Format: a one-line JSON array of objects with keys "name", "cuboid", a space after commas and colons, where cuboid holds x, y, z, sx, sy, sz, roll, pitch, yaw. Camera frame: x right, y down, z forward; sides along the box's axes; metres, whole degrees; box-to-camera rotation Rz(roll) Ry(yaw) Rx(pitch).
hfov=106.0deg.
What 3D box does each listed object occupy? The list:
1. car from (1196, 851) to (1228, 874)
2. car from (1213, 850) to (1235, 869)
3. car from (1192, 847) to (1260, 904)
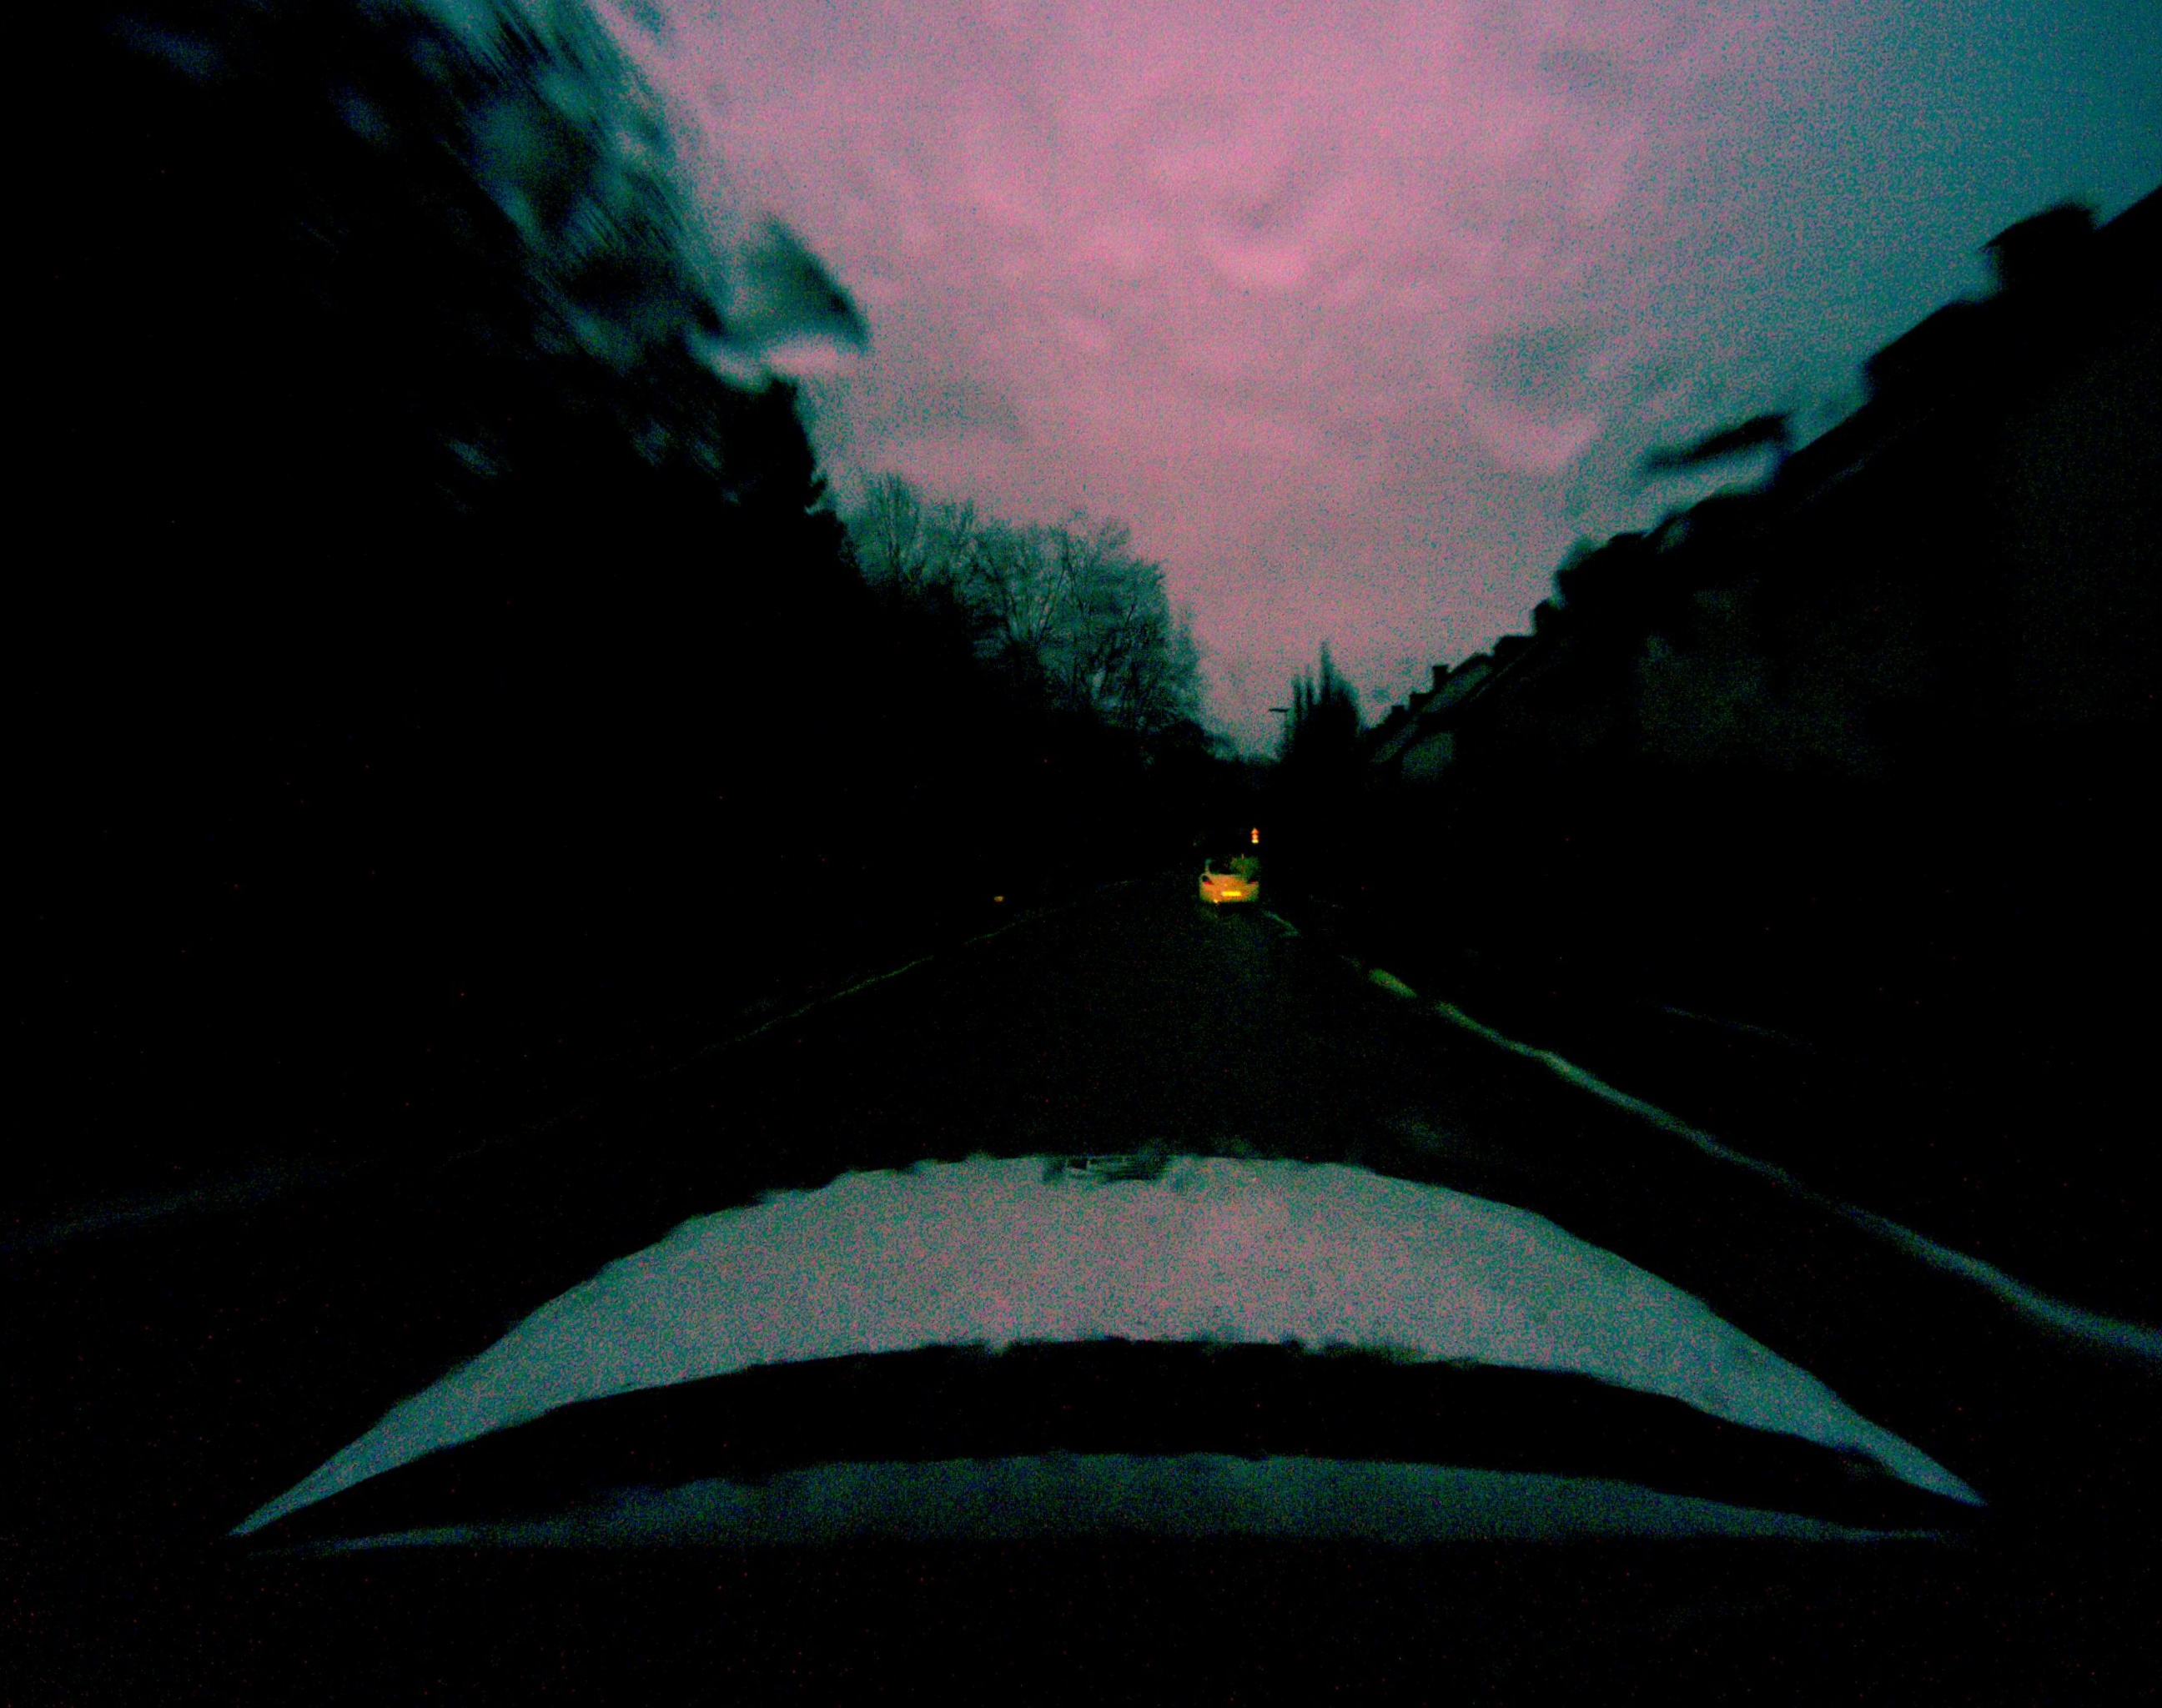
[{"name": "car", "cuboid": [10.758, 0.672, 66.712, 1.917, 1.781, 4.019, -3, 0, 18]}, {"name": "car", "cuboid": [14.445, 0.515, 82.190, 1.676, 1.774, 3.878, -3, 0, 17]}, {"name": "car", "cuboid": [4.184, 0.607, 24.029, 1.695, 1.506, 4.031, -1, -1, 6]}]
